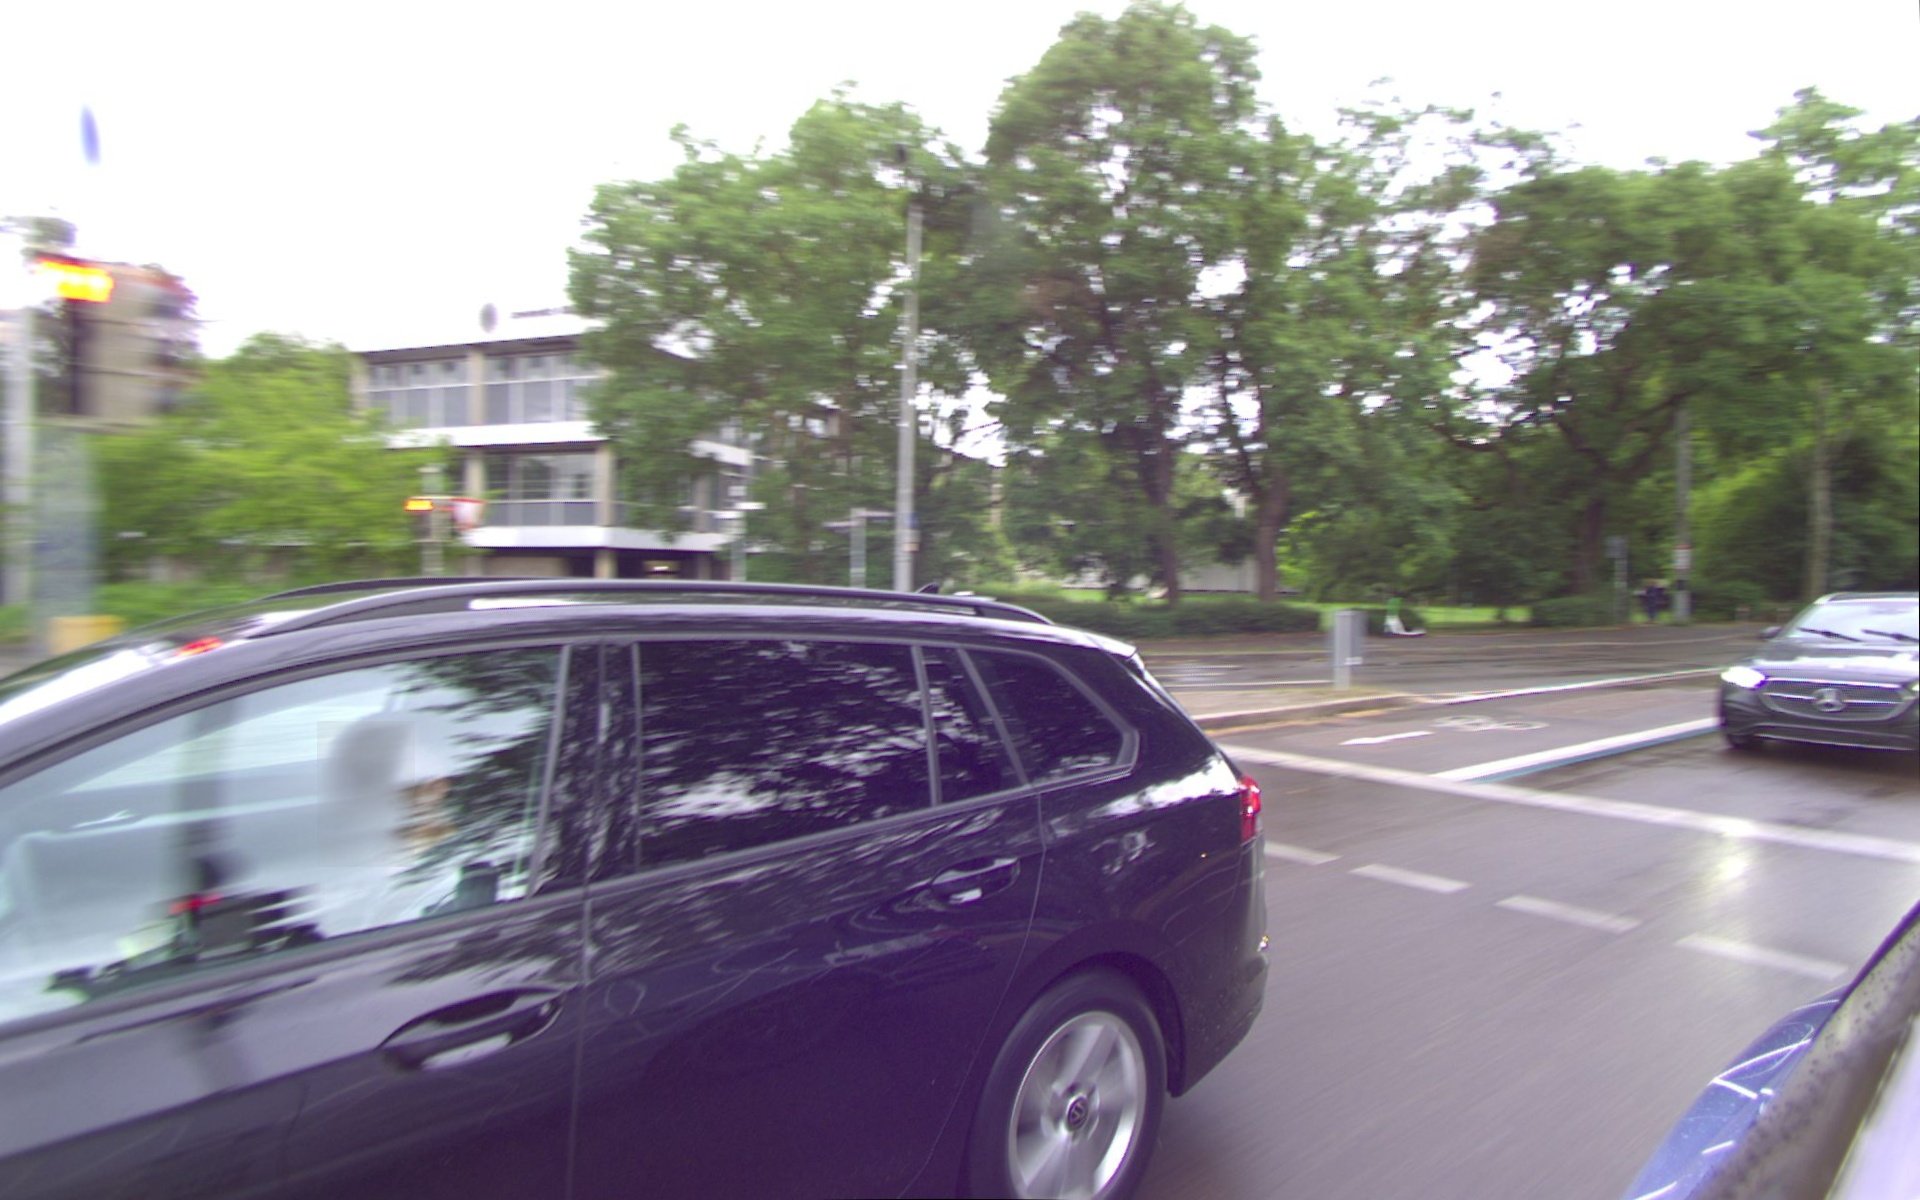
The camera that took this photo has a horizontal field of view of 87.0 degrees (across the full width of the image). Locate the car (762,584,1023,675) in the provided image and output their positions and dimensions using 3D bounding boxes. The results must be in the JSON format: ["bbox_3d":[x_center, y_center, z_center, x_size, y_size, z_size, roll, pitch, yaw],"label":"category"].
[{"bbox_3d":[-1.244,0.466,17.923,4.311,1.468,1.872,0,1,-15],"label":"car"}]

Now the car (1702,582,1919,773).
[{"bbox_3d":[9.076,0.568,9.640,4.838,1.463,1.885,-1,1,-37],"label":"car"}]

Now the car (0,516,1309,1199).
[{"bbox_3d":[-1.301,0.638,1.926,4.432,1.484,1.673,0,1,-40],"label":"car"}]

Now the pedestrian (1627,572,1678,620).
[{"bbox_3d":[24.001,-0.154,35.084,1.039,1.626,1.070,-1,1,5],"label":"pedestrian"}]

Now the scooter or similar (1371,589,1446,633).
[{"bbox_3d":[12.044,0.284,27.198,1.851,1.114,0.560,1,3,-16],"label":"scooter or similar"}]

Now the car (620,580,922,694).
[{"bbox_3d":[-2.614,0.461,14.296,3.917,1.468,1.871,0,1,-10],"label":"car"}]
